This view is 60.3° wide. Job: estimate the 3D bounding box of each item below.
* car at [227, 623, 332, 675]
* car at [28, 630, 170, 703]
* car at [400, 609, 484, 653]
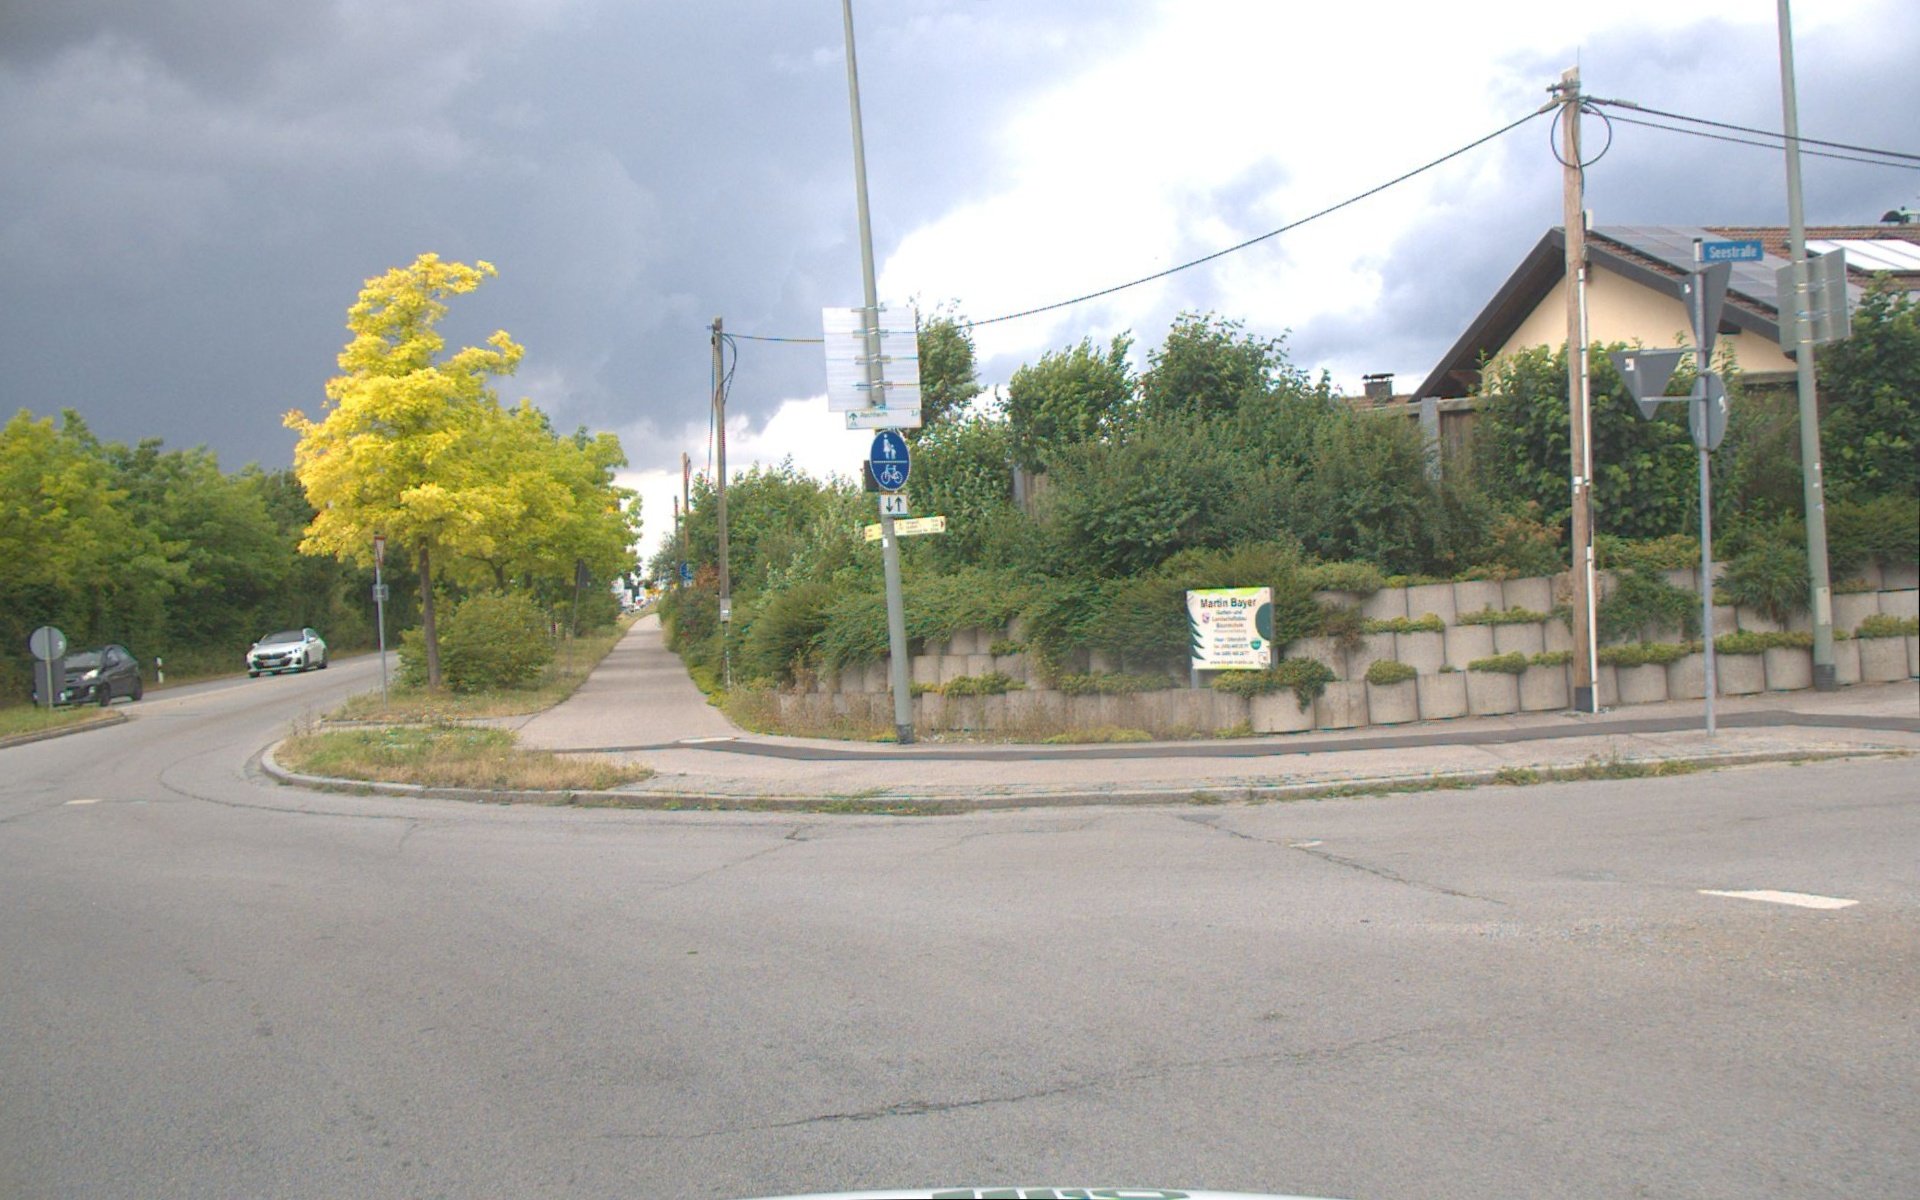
[{"bbox_3d":[-23.754,1.680,57.962,2.172,1.479,4.934,-2,1,-8],"label":"car"},{"bbox_3d":[-21.216,1.594,40.914,1.649,1.479,3.996,-2,1,-5],"label":"car"},{"bbox_3d":[-20.684,1.214,66.256,2.168,1.479,4.938,-2,1,-5],"label":"car"}]
